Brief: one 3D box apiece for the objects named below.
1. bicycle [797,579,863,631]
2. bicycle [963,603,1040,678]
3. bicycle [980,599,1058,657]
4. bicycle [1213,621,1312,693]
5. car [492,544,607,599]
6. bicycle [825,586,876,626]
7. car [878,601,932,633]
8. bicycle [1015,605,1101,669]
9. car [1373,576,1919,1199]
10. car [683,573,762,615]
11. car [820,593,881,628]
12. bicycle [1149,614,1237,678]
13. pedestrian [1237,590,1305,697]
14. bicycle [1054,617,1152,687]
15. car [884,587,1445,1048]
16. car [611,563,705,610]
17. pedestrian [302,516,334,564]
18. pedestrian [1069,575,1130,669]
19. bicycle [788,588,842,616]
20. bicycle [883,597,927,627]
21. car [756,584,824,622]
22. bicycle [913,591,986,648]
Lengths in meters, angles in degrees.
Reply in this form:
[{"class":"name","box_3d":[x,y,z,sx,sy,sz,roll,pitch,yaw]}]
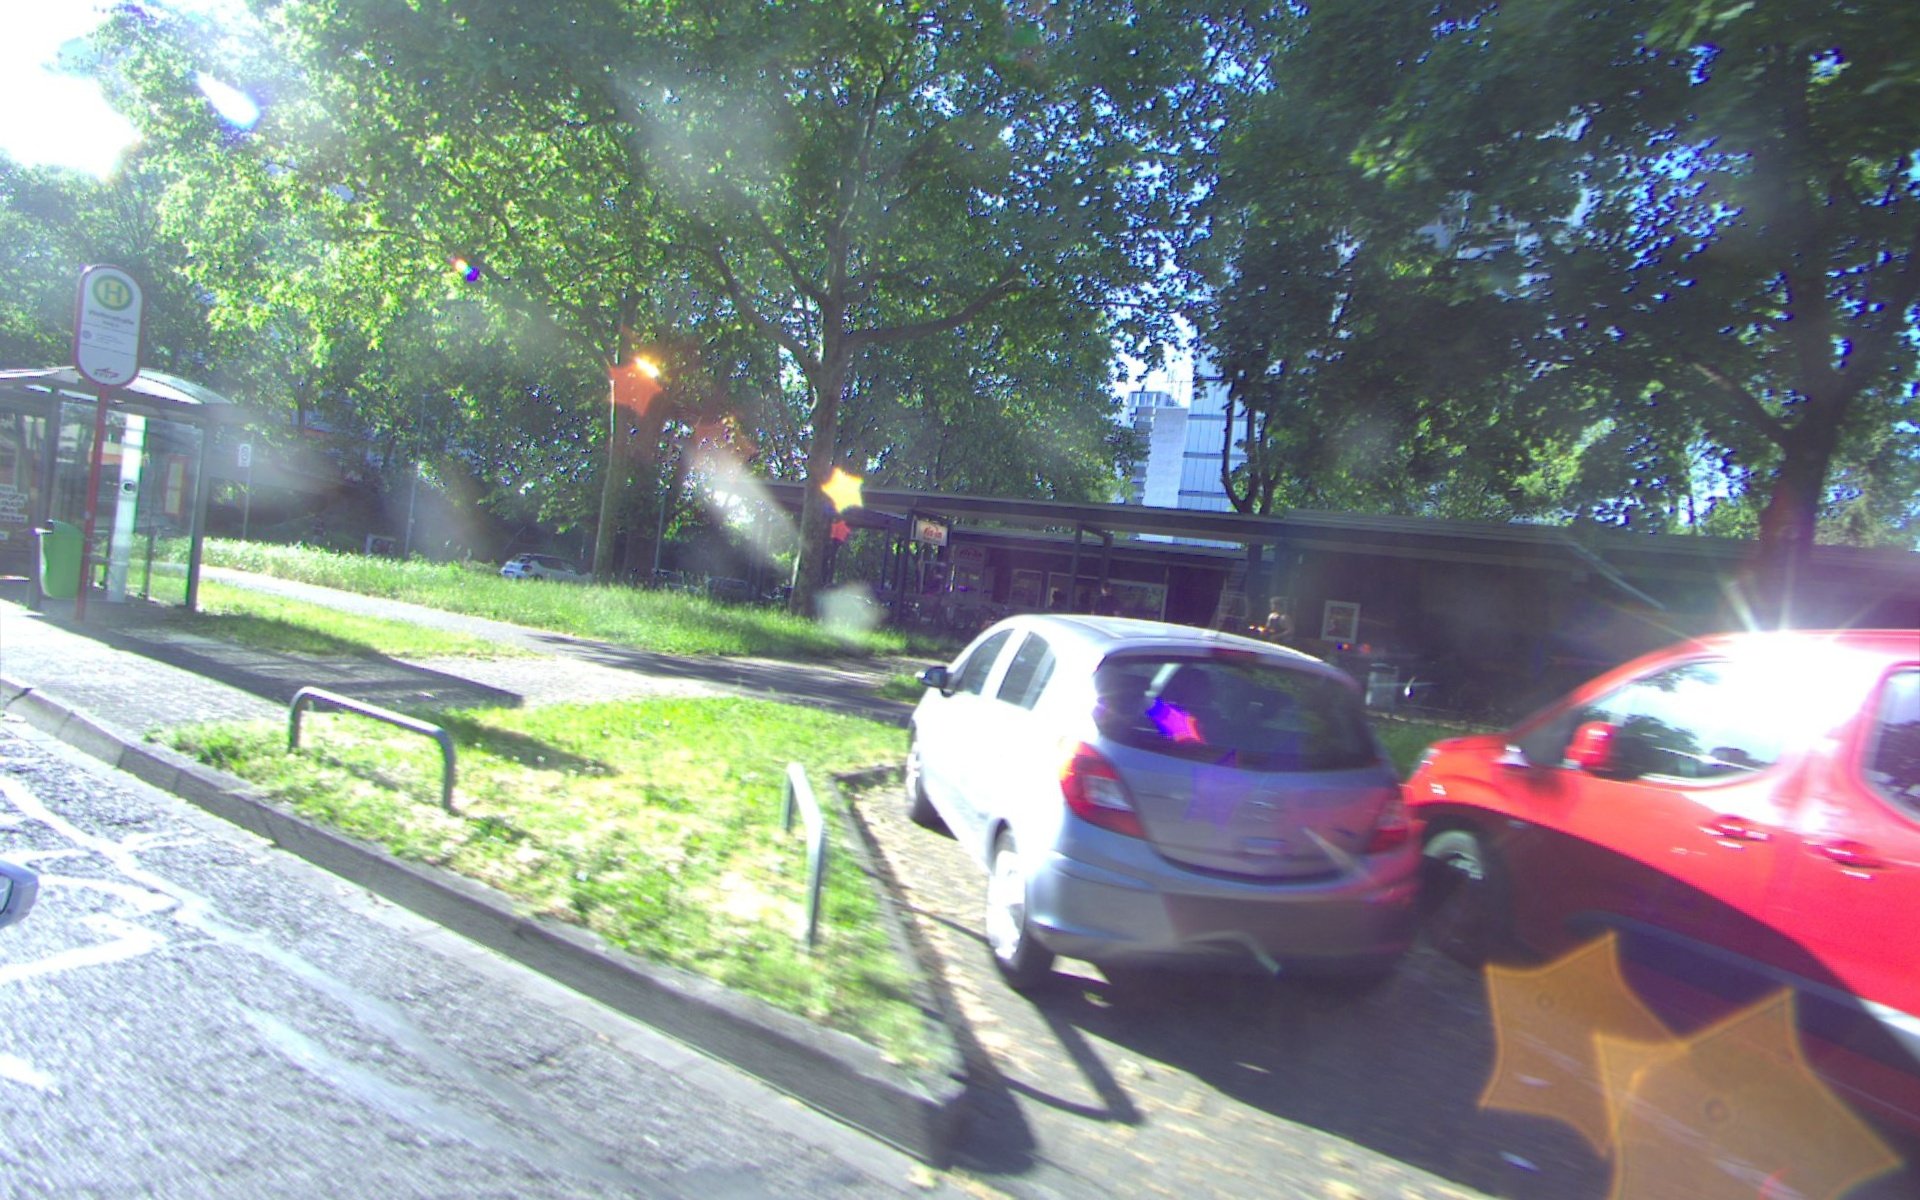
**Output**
[{"class":"bicycle","box_3d":[-3.689,0.132,28.487,1.776,1.268,0.576,6,-1,31]},{"class":"bicycle","box_3d":[0.757,0.702,17.540,0.551,1.172,2.071,7,1,22]},{"class":"bicycle","box_3d":[1.485,0.708,25.552,1.776,1.268,0.576,6,-1,31]},{"class":"bicycle","box_3d":[6.344,1.190,21.104,1.776,1.268,0.576,6,-1,31]},{"class":"car","box_3d":[-15.785,-1.072,38.884,1.680,1.514,3.736,9,0,30]},{"class":"bicycle","box_3d":[-3.497,0.209,32.200,0.698,1.129,1.804,5,0,25]},{"class":"car","box_3d":[-3.435,1.080,62.926,1.639,1.514,3.588,9,0,26]},{"class":"bicycle","box_3d":[2.276,0.853,23.400,1.776,1.268,0.576,6,-1,31]},{"class":"car","box_3d":[3.581,0.964,3.672,1.740,1.866,3.940,6,1,-12]},{"class":"car","box_3d":[-11.188,-0.259,47.606,1.594,1.514,3.589,9,0,25]},{"class":"car","box_3d":[-6.170,0.617,56.916,1.556,1.514,3.588,9,0,27]},{"class":"bicycle","box_3d":[5.434,1.074,23.523,1.776,1.268,0.576,6,-1,31]},{"class":"pedestrian","box_3d":[5.844,0.808,18.878,0.935,1.863,0.966,7,1,24]},{"class":"bicycle","box_3d":[2.703,0.999,18.833,2.059,1.173,0.555,5,2,-44]},{"class":"car","box_3d":[0.626,0.797,5.473,1.493,1.491,3.819,6,1,-11]},{"class":"car","box_3d":[-13.076,-0.543,43.787,1.637,1.514,3.985,9,0,22]},{"class":"pedestrian","box_3d":[-25.922,-2.428,40.622,0.726,1.800,0.659,8,2,24]},{"class":"pedestrian","box_3d":[2.735,0.439,19.688,0.719,1.729,1.130,7,1,24]},{"class":"bicycle","box_3d":[-5.709,0.067,39.559,2.158,0.972,0.505,3,0,27]},{"class":"bicycle","box_3d":[-1.902,0.435,35.234,0.698,0.968,1.803,7,2,25]},{"class":"car","box_3d":[-8.813,0.185,52.415,1.598,1.514,3.589,9,0,26]},{"class":"bicycle","box_3d":[-0.284,0.511,26.556,1.776,1.268,0.576,6,-1,31]}]
